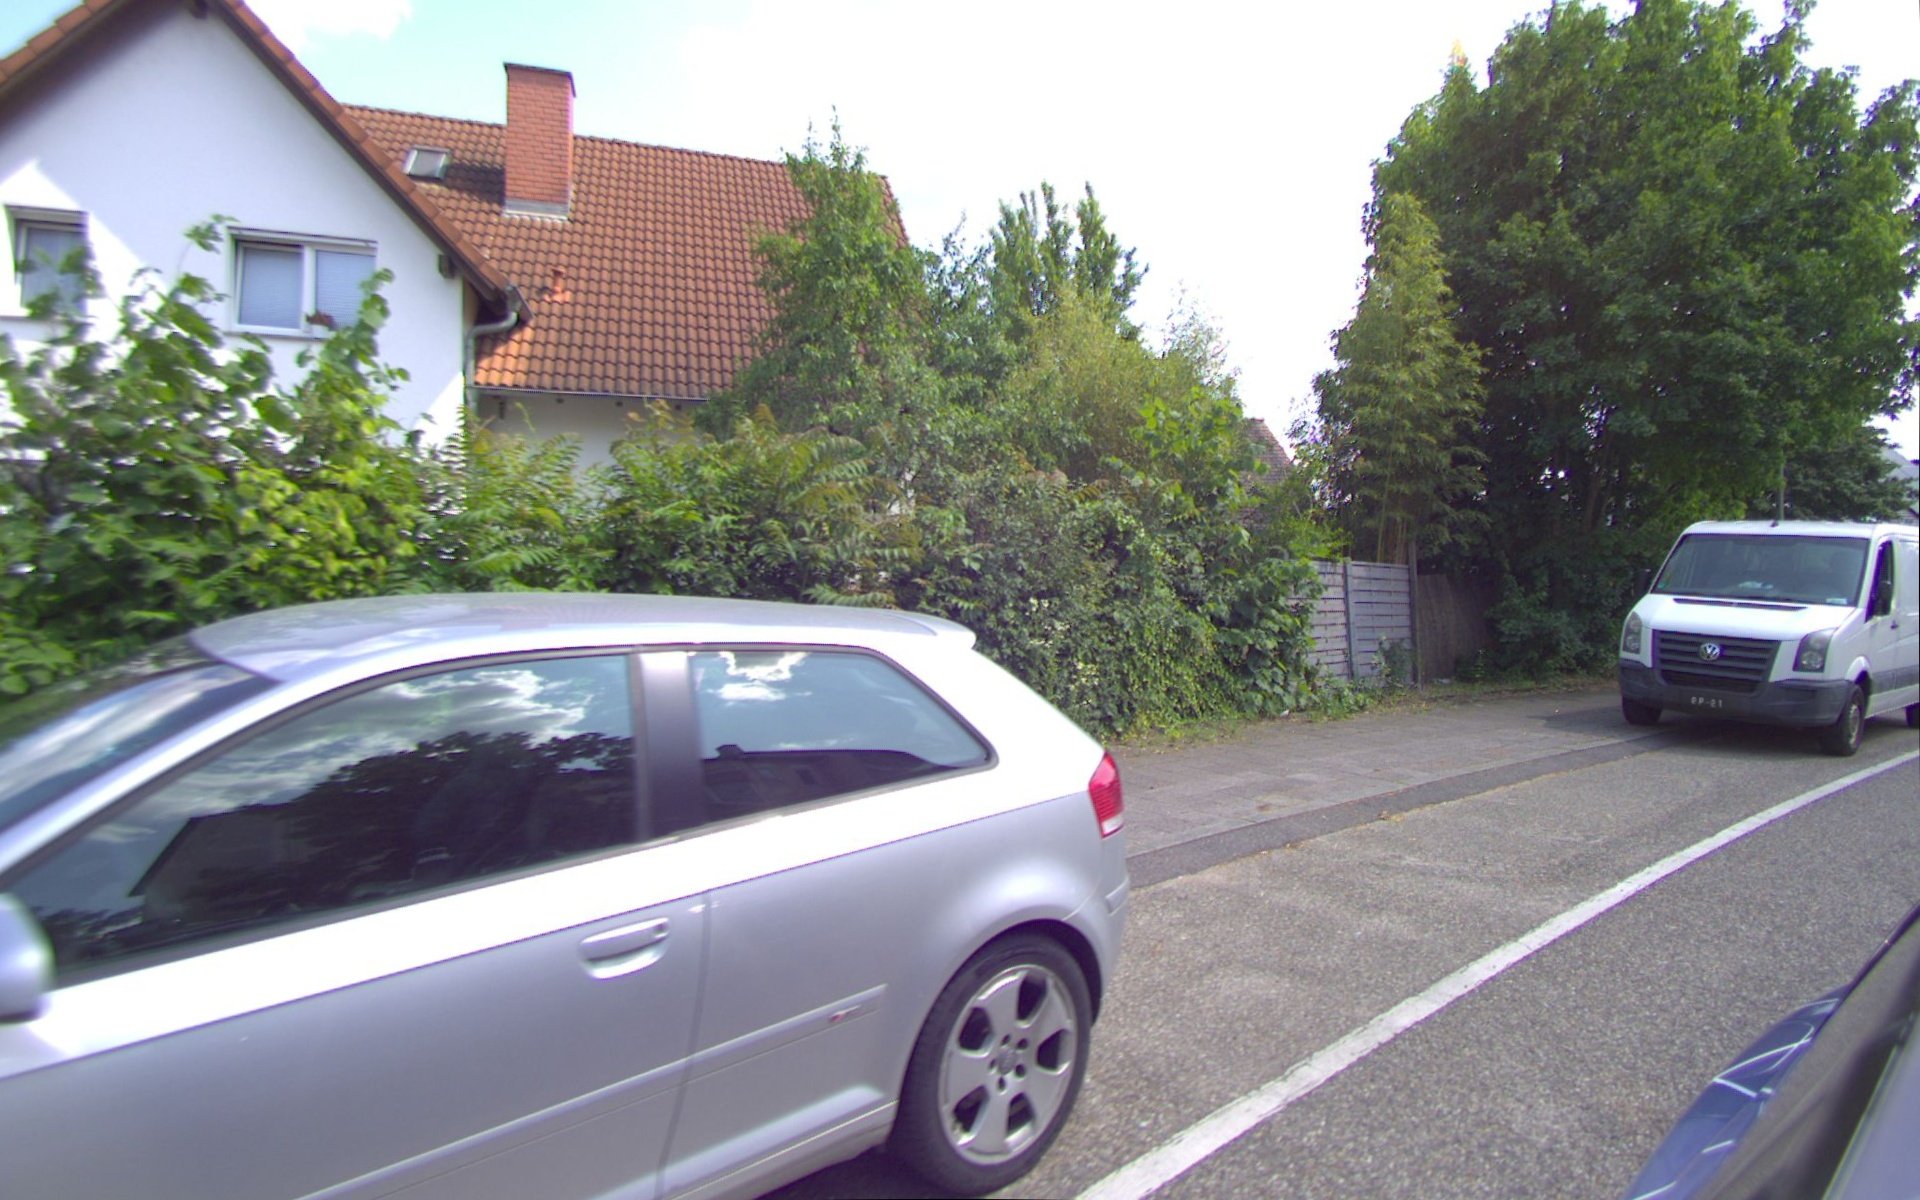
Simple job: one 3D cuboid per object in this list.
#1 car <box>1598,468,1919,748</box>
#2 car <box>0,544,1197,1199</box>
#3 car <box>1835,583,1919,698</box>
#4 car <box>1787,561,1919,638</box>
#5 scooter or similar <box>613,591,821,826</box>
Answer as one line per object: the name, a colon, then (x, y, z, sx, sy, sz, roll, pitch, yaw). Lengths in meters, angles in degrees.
car: (9.633, 0.066, 11.512, 5.784, 2.472, 2.123, 0, 0, -37)
car: (-1.520, 0.655, 2.146, 4.287, 1.476, 1.741, 0, 1, -40)
car: (15.039, 0.573, 15.355, 4.045, 1.605, 1.723, 0, 0, -35)
car: (26.647, -0.012, 28.588, 1.961, 2.083, 5.360, 0, 0, -3)
scooter or similar: (-1.394, 0.588, 5.945, 1.221, 1.268, 0.212, 0, -1, -41)
